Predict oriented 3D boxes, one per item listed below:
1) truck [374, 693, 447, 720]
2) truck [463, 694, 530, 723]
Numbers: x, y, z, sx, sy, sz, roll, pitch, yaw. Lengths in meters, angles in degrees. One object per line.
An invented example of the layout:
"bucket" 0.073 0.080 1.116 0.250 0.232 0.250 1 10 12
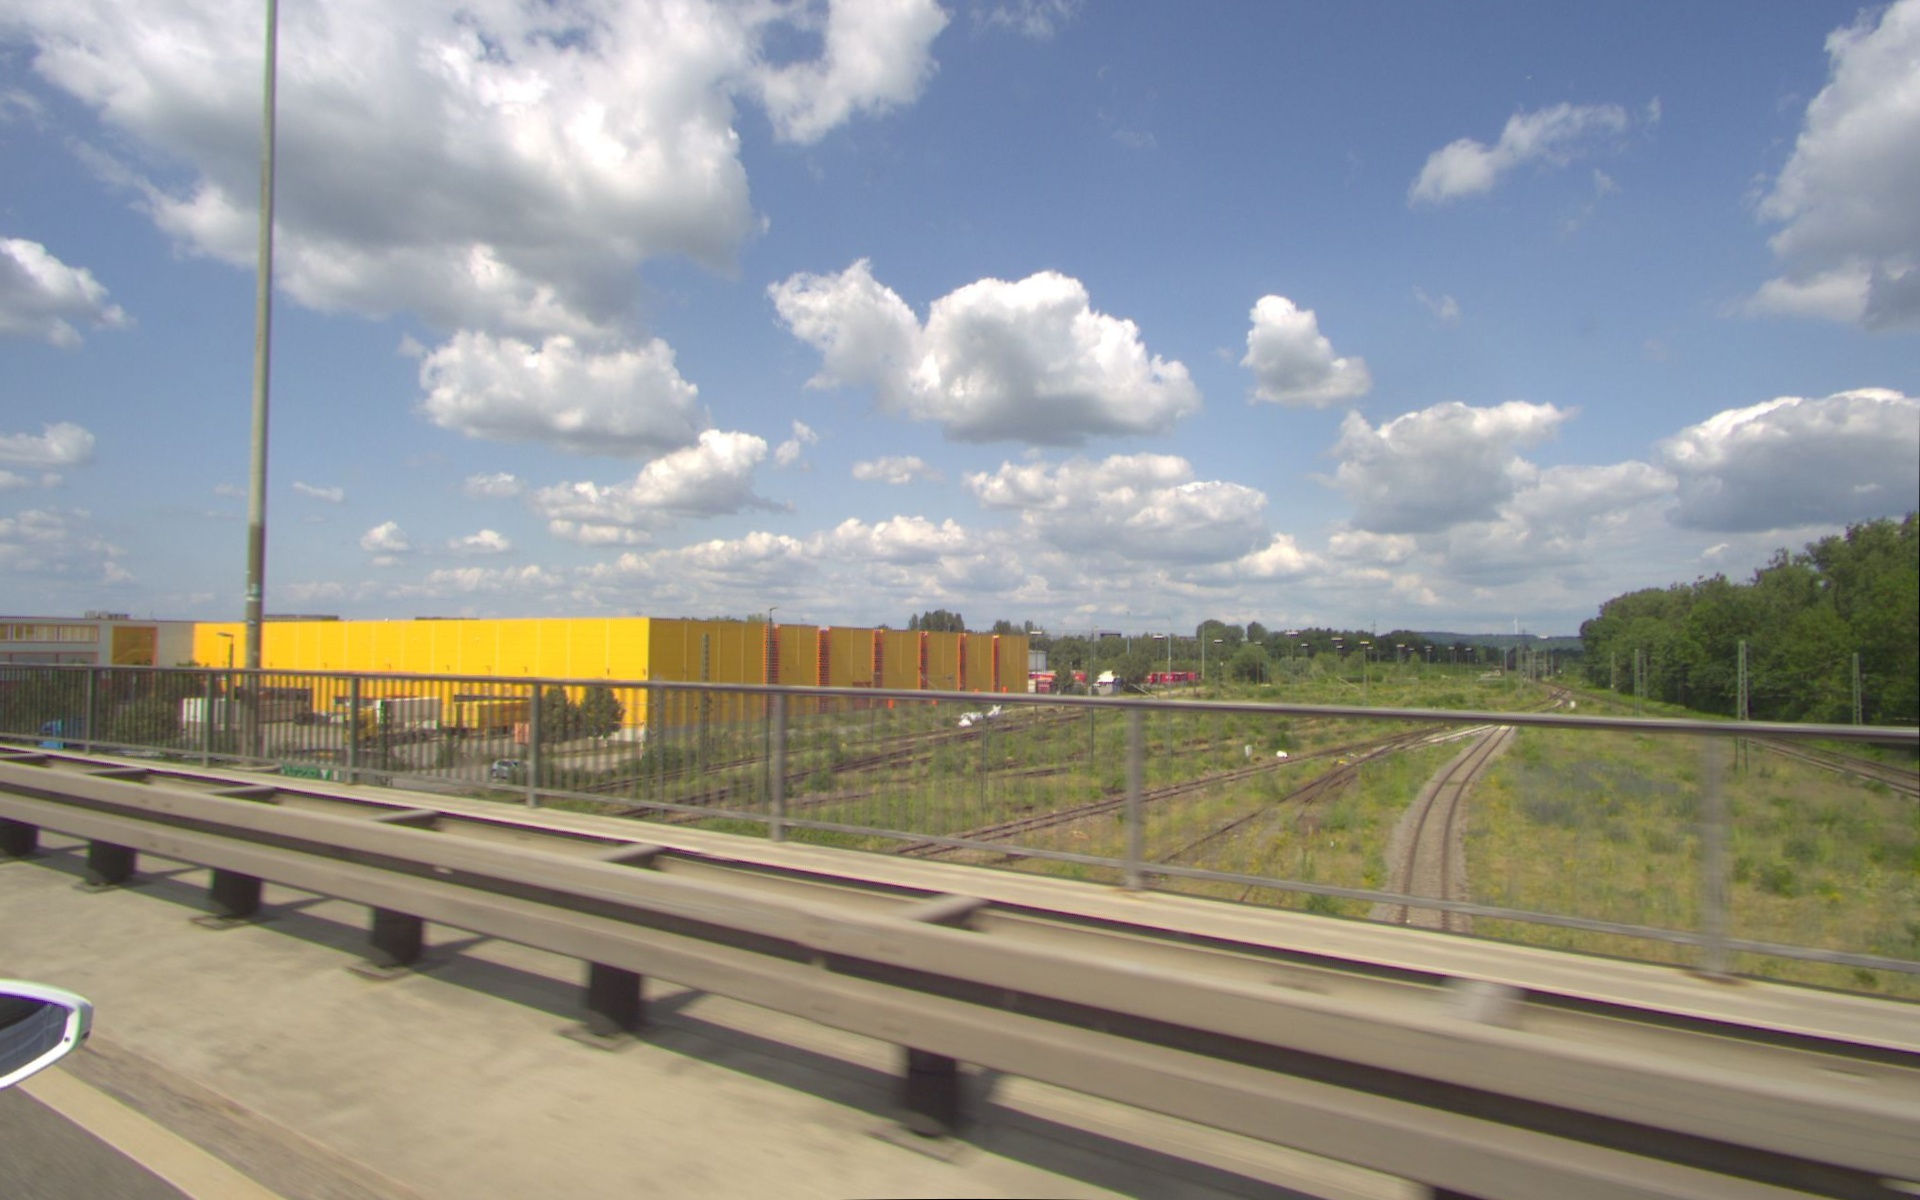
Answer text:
"truck" -67.097 12.970 122.542 2.648 3.225 7.650 -3 -5 26
"truck" -53.676 12.509 116.149 2.536 3.225 7.012 -3 -5 26
